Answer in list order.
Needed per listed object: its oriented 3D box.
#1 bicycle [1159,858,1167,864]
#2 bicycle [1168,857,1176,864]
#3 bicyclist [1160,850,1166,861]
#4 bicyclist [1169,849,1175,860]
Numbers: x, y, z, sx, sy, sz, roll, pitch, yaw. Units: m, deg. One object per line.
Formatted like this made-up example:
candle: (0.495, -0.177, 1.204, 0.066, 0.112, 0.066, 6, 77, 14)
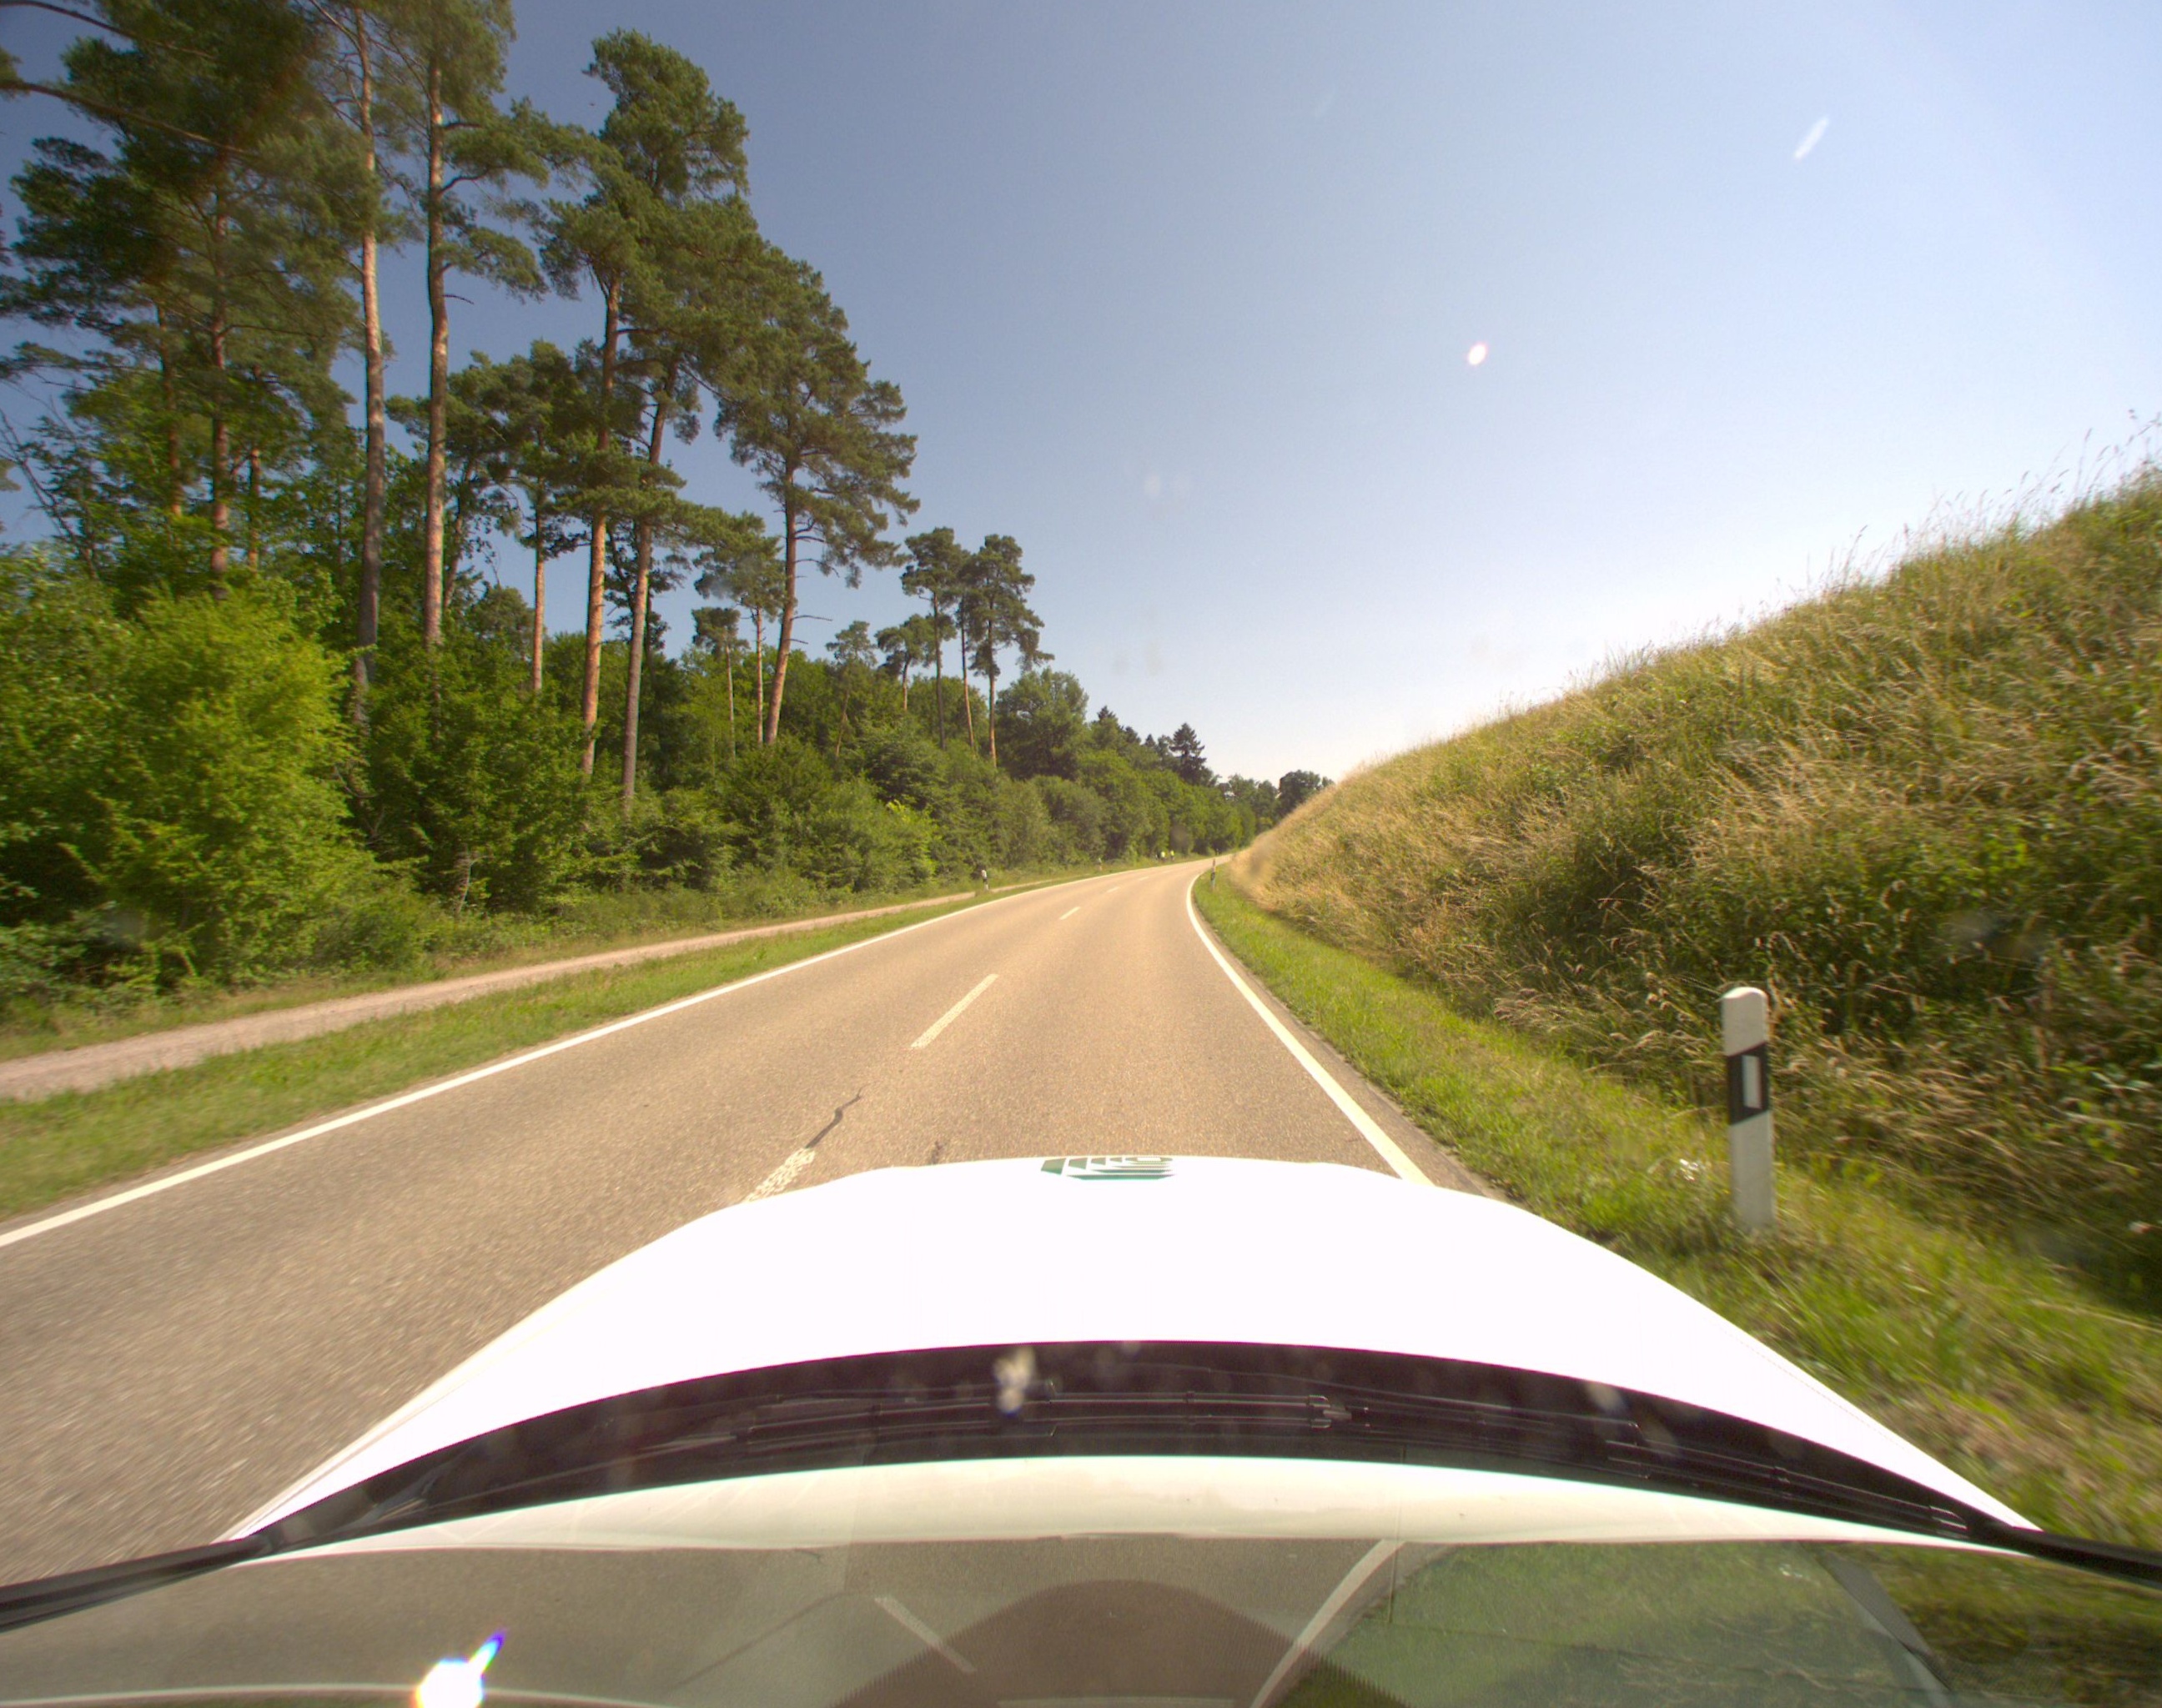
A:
bicycle: (10.313, 0.899, 102.297, 0.614, 0.681, 2.146, -3, 0, 16)
bicycle: (11.335, 0.776, 101.738, 0.635, 0.788, 2.146, -3, 0, 16)
bicyclist: (10.318, 0.212, 102.326, 0.600, 1.415, 0.705, -1, -1, 16)
bicyclist: (11.368, 0.063, 101.911, 0.600, 1.415, 0.705, -2, 0, 16)
